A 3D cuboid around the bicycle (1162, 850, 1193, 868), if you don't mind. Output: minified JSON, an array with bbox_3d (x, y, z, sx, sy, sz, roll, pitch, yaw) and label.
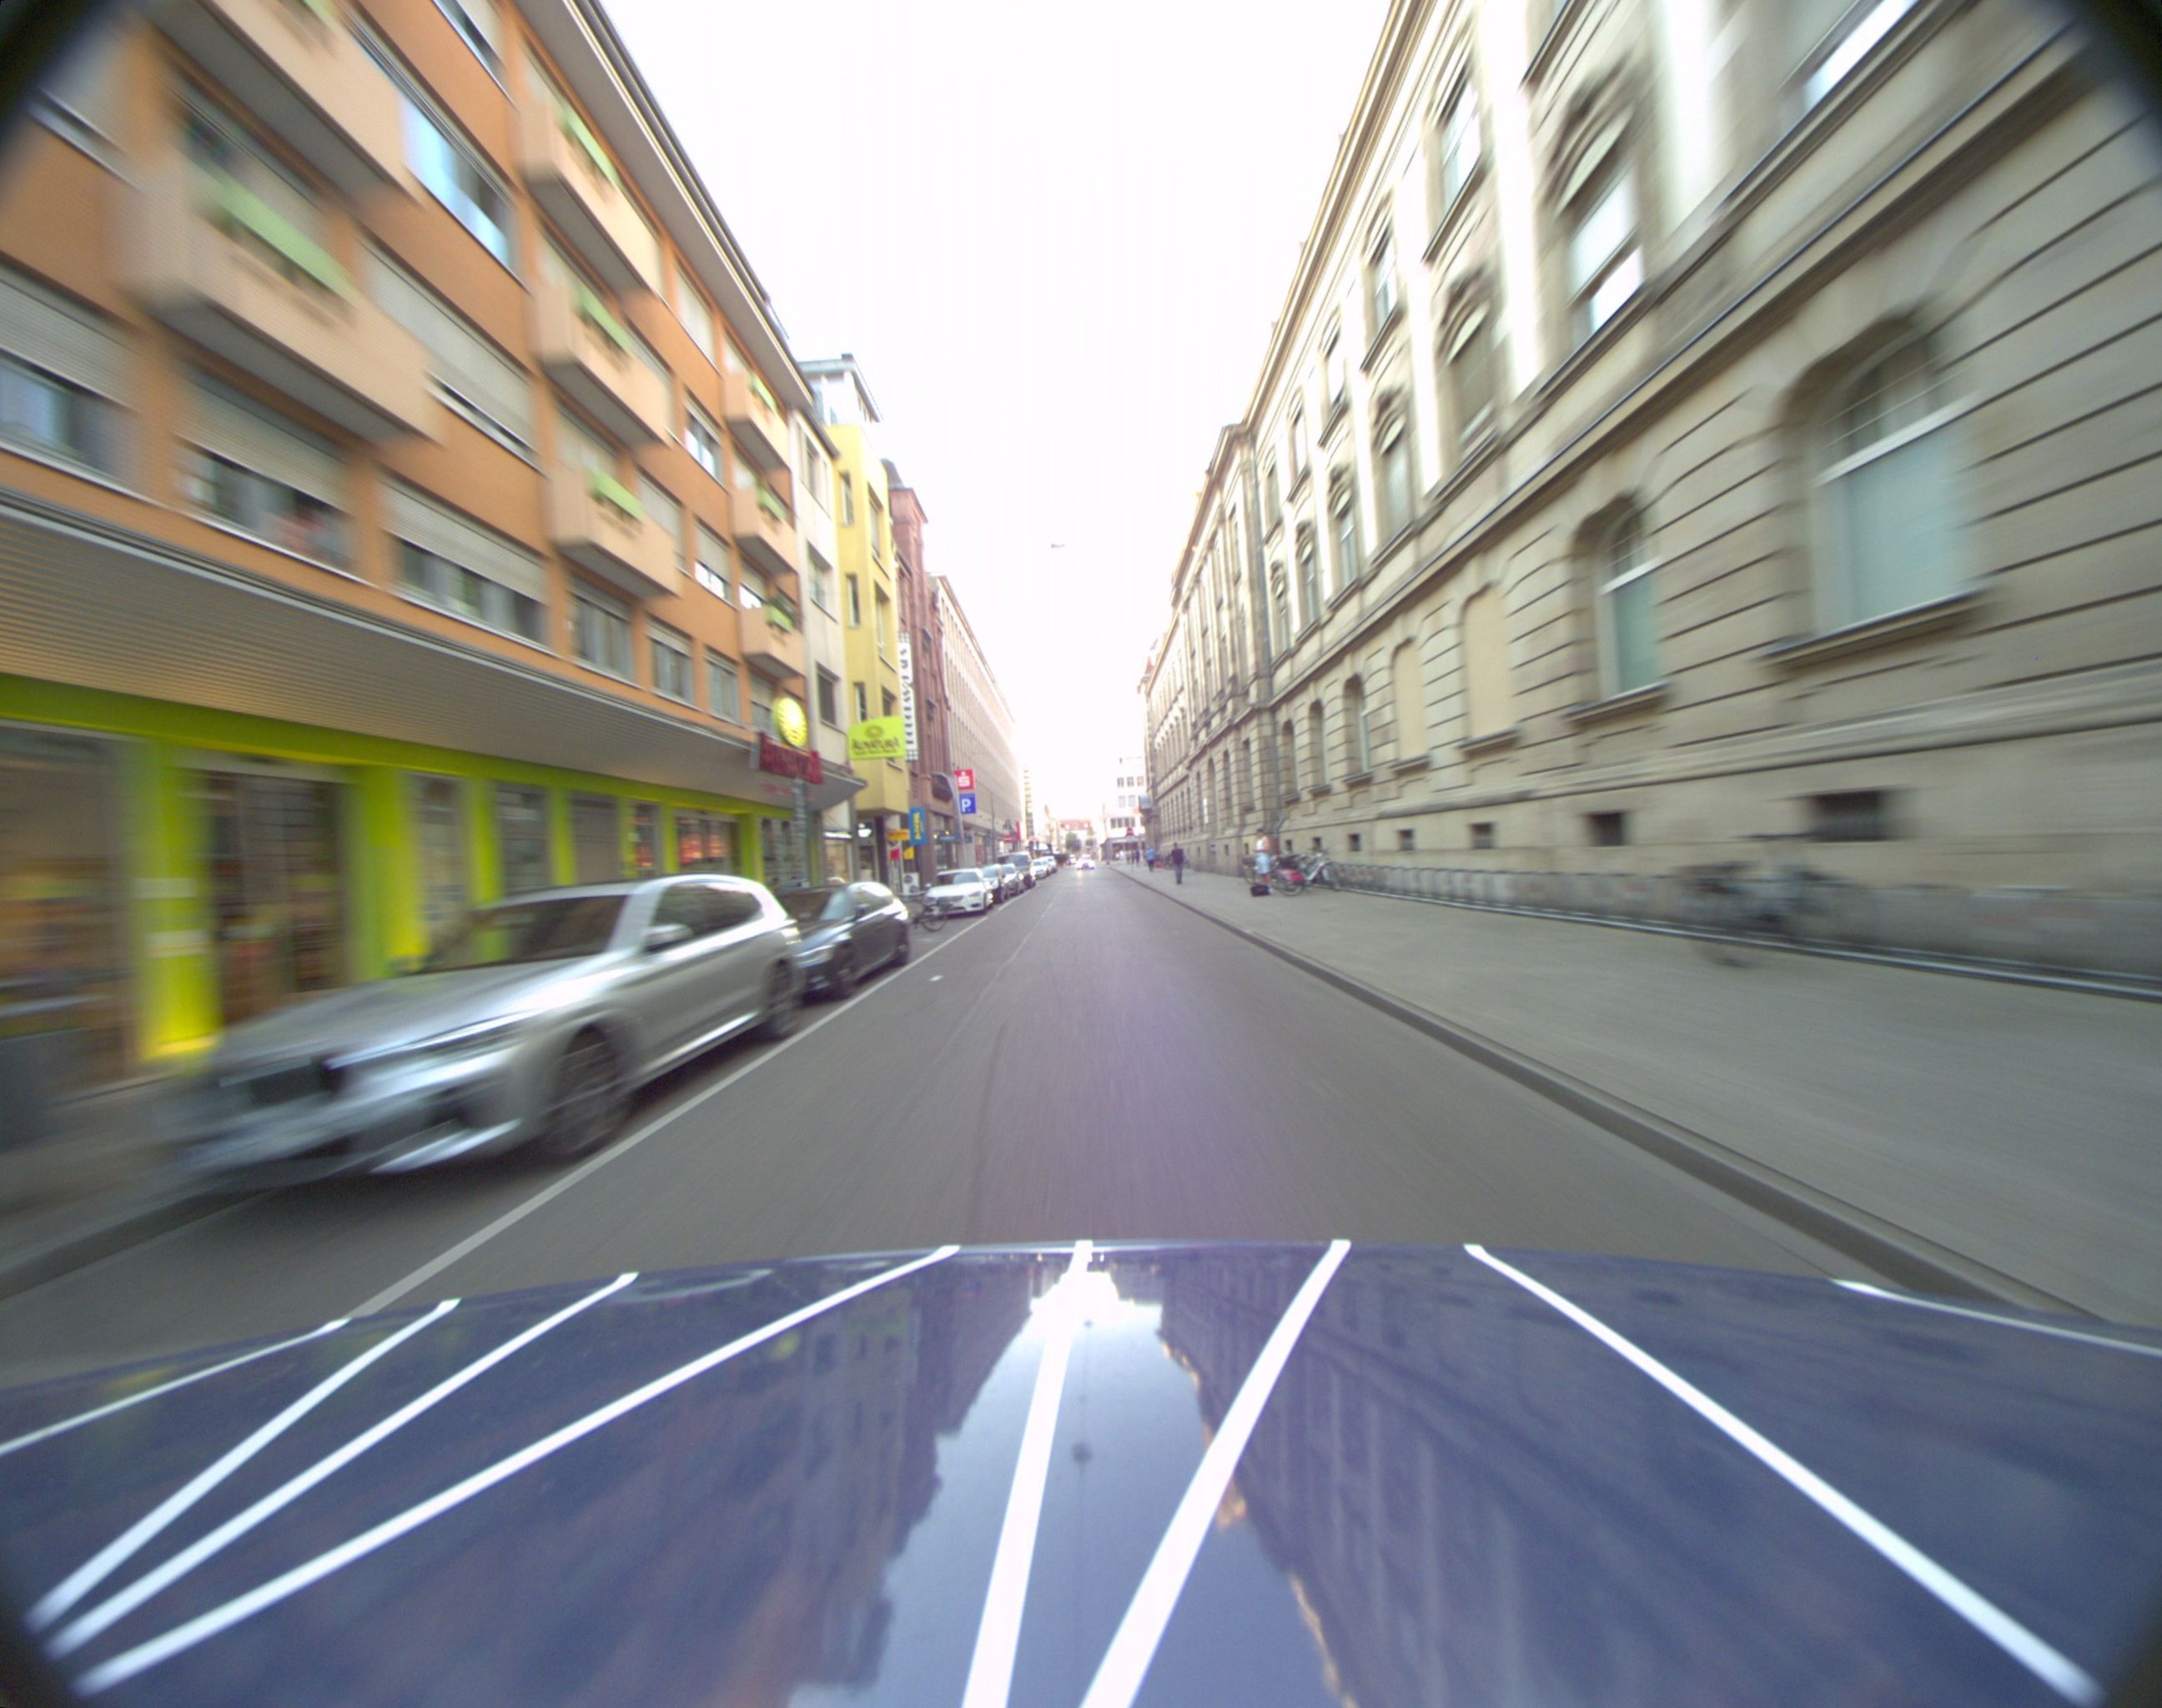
[{"bbox_3d":[6.717,0.333,52.746,1.943,1.072,0.730,-6,1,-6],"label":"bicycle"}]

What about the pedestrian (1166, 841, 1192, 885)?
[{"bbox_3d":[4.104,0.365,31.798,0.811,1.740,0.969,-5,1,1],"label":"pedestrian"}]

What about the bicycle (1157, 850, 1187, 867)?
[{"bbox_3d":[6.583,0.332,54.834,1.943,1.072,0.730,-6,1,-6],"label":"bicycle"}]

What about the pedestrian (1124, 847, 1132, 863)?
[{"bbox_3d":[5.393,0.073,87.540,0.727,1.732,0.839,-7,0,3],"label":"pedestrian"}]

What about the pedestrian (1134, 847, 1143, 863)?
[{"bbox_3d":[6.761,0.111,89.353,0.718,1.819,0.870,-7,1,8],"label":"pedestrian"}]

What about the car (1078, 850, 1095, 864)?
[{"bbox_3d":[0.573,0.294,81.896,1.741,1.407,4.682,-1,0,-1],"label":"car"}]

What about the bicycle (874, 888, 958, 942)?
[{"bbox_3d":[-3.821,1.392,17.701,1.740,1.049,0.658,-5,1,-41],"label":"bicycle"}]

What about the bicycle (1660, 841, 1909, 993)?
[{"bbox_3d":[6.306,0.520,6.817,1.944,1.055,0.619,-7,2,-14],"label":"bicycle"}]

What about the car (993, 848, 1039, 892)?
[{"bbox_3d":[-3.435,0.780,41.070,1.851,2.046,5.053,-5,1,0],"label":"car"}]

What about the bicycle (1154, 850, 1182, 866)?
[{"bbox_3d":[6.691,0.288,58.457,1.943,1.072,0.730,-6,1,-6],"label":"bicycle"}]

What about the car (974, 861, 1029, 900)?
[{"bbox_3d":[-3.489,1.136,33.985,1.691,1.444,4.498,-6,0,2],"label":"car"}]

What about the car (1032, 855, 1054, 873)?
[{"bbox_3d":[-3.458,0.895,69.527,1.661,1.439,3.869,-5,1,1],"label":"car"}]

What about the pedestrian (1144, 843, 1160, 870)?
[{"bbox_3d":[4.769,0.156,51.121,0.831,1.736,0.769,-6,1,1],"label":"pedestrian"}]

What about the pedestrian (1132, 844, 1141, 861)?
[{"bbox_3d":[5.850,-0.155,79.624,0.719,1.770,0.800,-5,1,1],"label":"pedestrian"}]

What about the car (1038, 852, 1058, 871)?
[{"bbox_3d":[-3.228,0.737,75.008,1.781,1.656,4.812,-5,1,-2],"label":"car"}]

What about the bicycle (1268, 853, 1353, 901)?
[{"bbox_3d":[5.936,0.580,19.688,1.942,1.055,0.619,-5,2,-1],"label":"bicycle"}]

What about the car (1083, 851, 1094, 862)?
[{"bbox_3d":[1.315,0.468,134.301,1.824,1.728,4.000,-3,0,0],"label":"car"}]

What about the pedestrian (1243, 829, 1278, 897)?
[{"bbox_3d":[5.042,0.243,21.367,0.589,1.840,0.754,-5,1,-5],"label":"pedestrian"}]

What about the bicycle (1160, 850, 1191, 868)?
[{"bbox_3d":[6.655,0.330,53.518,1.943,1.072,0.730,-6,1,-6],"label":"bicycle"}]

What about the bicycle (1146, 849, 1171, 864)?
[{"bbox_3d":[6.799,0.203,66.587,2.026,1.072,0.729,-6,1,-19],"label":"bicycle"}]

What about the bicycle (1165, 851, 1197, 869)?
[{"bbox_3d":[6.645,0.398,50.562,1.940,1.040,0.721,-5,1,-4],"label":"bicycle"}]

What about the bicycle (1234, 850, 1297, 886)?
[{"bbox_3d":[6.353,0.477,26.206,1.942,1.055,0.619,-5,1,0],"label":"bicycle"}]

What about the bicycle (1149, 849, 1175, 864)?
[{"bbox_3d":[6.731,0.232,63.157,1.943,1.072,0.730,-6,1,-6],"label":"bicycle"}]

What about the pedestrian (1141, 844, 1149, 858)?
[{"bbox_3d":[7.528,-0.360,89.260,0.757,1.632,0.749,-7,1,8],"label":"pedestrian"}]

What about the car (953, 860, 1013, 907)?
[{"bbox_3d":[-3.655,1.062,28.872,1.622,1.507,4.173,-6,0,0],"label":"car"}]

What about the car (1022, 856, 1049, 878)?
[{"bbox_3d":[-3.423,0.936,58.005,1.661,1.439,4.307,-5,1,0],"label":"car"}]

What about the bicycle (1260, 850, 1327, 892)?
[{"bbox_3d":[6.350,0.503,22.739,1.799,1.101,0.500,-5,1,-5],"label":"bicycle"}]

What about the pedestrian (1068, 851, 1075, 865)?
[{"bbox_3d":[-1.179,0.461,97.271,0.687,1.751,0.799,-3,0,-7],"label":"pedestrian"}]

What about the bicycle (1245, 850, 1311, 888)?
[{"bbox_3d":[6.461,0.489,24.957,1.943,1.055,0.619,-5,1,-5],"label":"bicycle"}]

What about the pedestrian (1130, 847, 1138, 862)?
[{"bbox_3d":[6.146,0.028,87.530,0.731,1.658,0.858,-7,0,3],"label":"pedestrian"}]

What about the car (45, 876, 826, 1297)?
[{"bbox_3d":[-3.777,1.144,5.879,1.756,1.658,4.756,-6,0,1],"label":"car"}]

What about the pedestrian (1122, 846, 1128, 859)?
[{"bbox_3d":[6.787,-0.238,116.866,0.783,1.881,0.642,-4,1,0],"label":"pedestrian"}]

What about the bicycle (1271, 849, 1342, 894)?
[{"bbox_3d":[6.388,0.483,21.538,1.799,1.101,0.500,-5,1,-5],"label":"bicycle"}]

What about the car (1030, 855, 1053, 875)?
[{"bbox_3d":[-3.320,0.893,63.978,1.661,1.439,4.444,-5,1,-1],"label":"car"}]

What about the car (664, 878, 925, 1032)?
[{"bbox_3d":[-3.688,1.205,10.848,1.695,1.406,4.756,-6,0,1],"label":"car"}]

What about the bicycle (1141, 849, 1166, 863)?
[{"bbox_3d":[6.635,0.184,69.462,2.024,1.102,0.730,-6,1,-6],"label":"bicycle"}]

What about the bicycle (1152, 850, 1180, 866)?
[{"bbox_3d":[6.686,0.275,59.646,1.943,1.072,0.730,-6,1,-6],"label":"bicycle"}]

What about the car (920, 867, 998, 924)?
[{"bbox_3d":[-3.690,1.209,23.702,1.696,1.403,4.638,-6,0,-2],"label":"car"}]

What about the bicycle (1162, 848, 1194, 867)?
[{"bbox_3d":[6.564,0.238,51.479,1.942,1.072,0.748,-5,1,0],"label":"bicycle"}]

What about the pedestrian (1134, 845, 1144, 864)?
[{"bbox_3d":[5.391,0.044,70.783,0.778,1.778,0.820,-5,1,-2],"label":"pedestrian"}]

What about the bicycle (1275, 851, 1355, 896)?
[{"bbox_3d":[6.375,0.519,20.724,1.943,1.055,0.619,-5,1,-5],"label":"bicycle"}]
